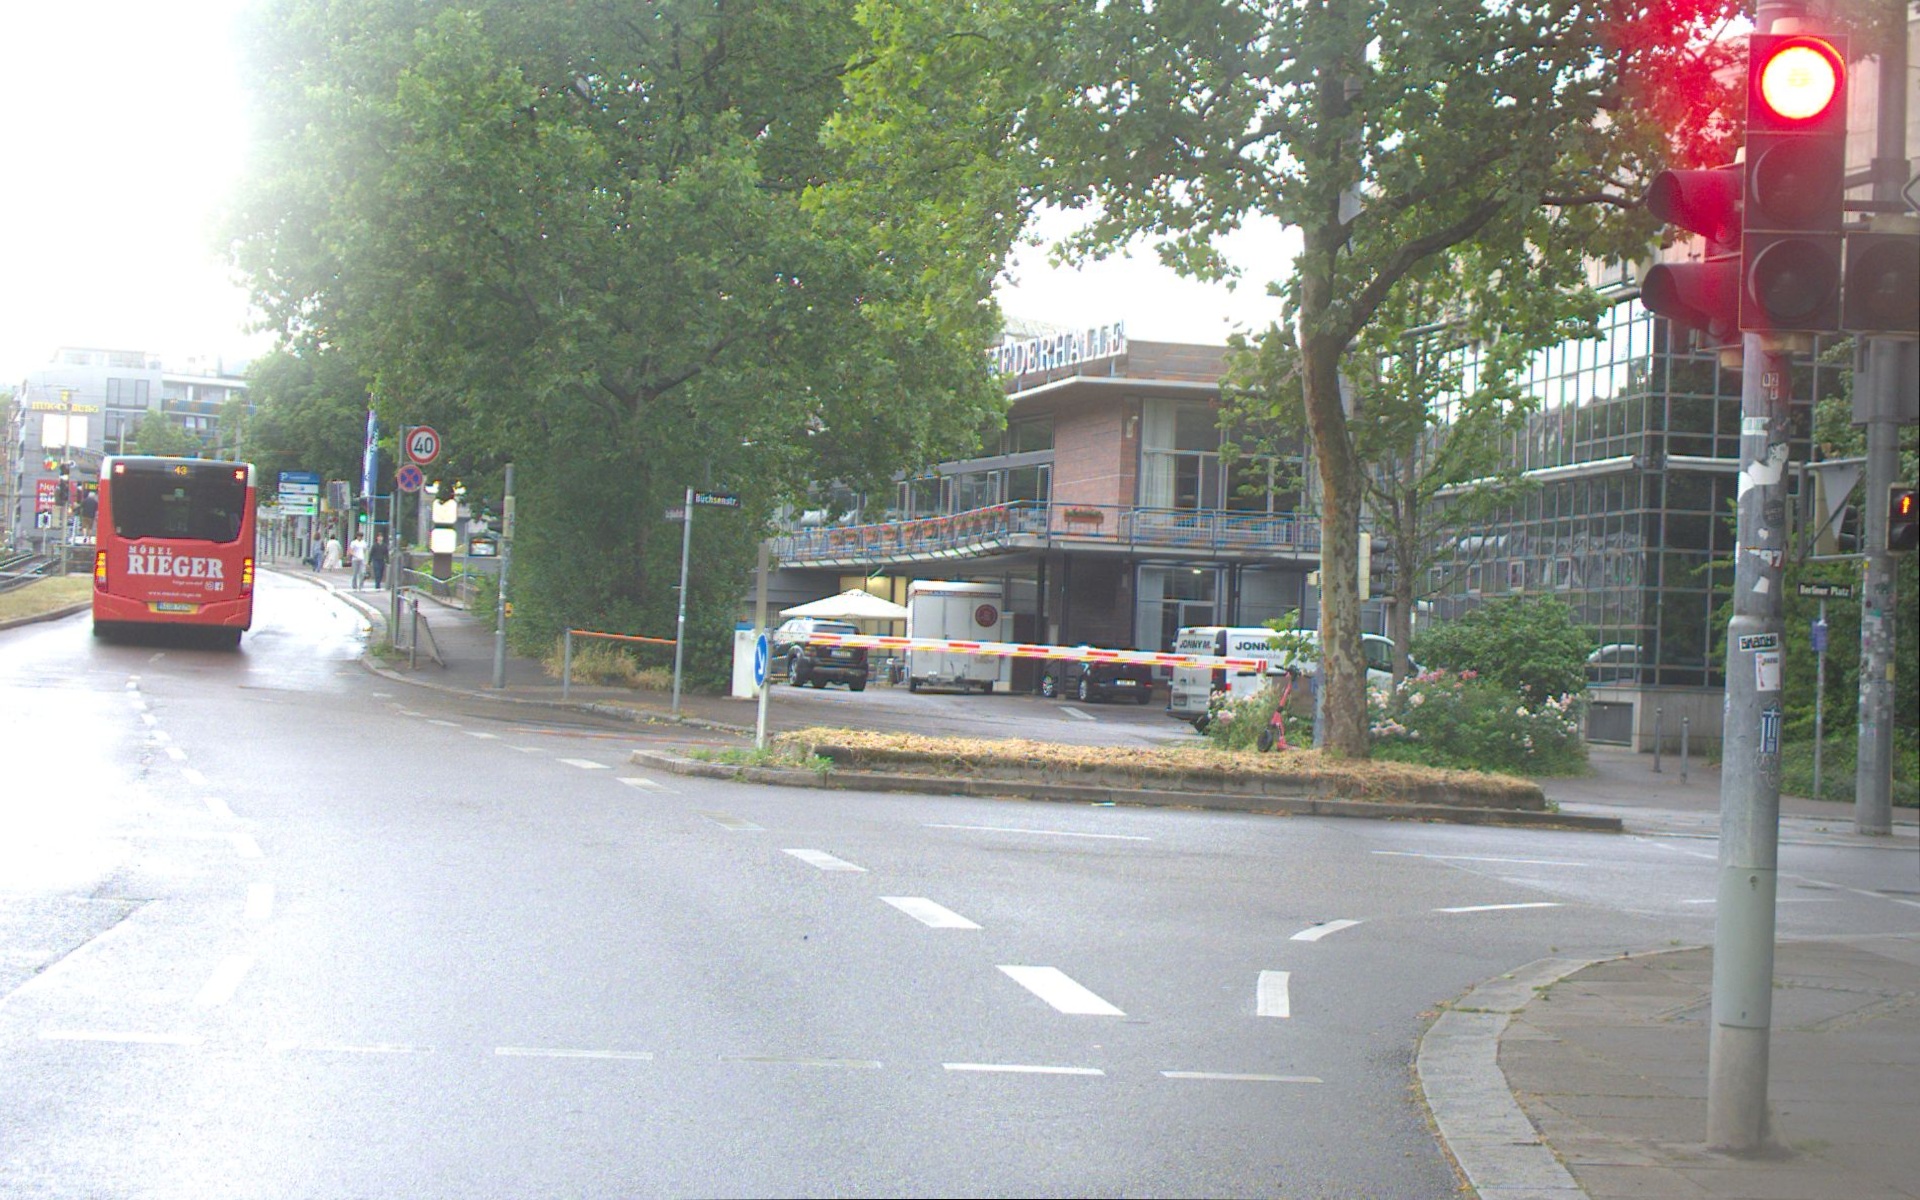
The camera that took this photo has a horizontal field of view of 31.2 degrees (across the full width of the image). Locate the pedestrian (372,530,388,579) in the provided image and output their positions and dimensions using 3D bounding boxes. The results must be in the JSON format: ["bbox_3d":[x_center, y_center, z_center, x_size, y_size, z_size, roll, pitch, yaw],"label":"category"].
[{"bbox_3d":[-18.161,-1.415,107.574,0.371,1.520,0.344,3,0,-1],"label":"pedestrian"}]

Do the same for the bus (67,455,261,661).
[{"bbox_3d":[-13.598,-0.686,59.319,2.654,3.100,9.187,4,-1,-10],"label":"bus"}]

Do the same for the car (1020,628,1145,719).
[{"bbox_3d":[2.978,1.780,84.459,1.993,2.007,4.001,4,-1,-13],"label":"car"}]

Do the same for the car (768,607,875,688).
[{"bbox_3d":[-3.562,1.191,87.941,1.993,1.853,4.001,4,-1,-12],"label":"car"}]

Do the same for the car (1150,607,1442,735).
[{"bbox_3d":[6.064,1.281,62.048,4.745,1.937,2.001,4,-1,-22],"label":"car"}]

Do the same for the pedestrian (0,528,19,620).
[{"bbox_3d":[-17.479,-0.493,62.186,0.737,1.634,0.871,4,-1,-13],"label":"pedestrian"}]

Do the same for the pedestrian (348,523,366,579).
[{"bbox_3d":[-18.733,-1.518,106.887,0.371,1.702,0.644,3,0,-1],"label":"pedestrian"}]

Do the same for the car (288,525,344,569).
[{"bbox_3d":[-27.591,-2.259,147.227,1.993,1.678,4.001,4,-1,-14],"label":"car"}]

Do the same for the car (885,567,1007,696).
[{"bbox_3d":[-0.411,0.814,90.563,2.544,3.123,5.032,4,-1,-6],"label":"car"}]
